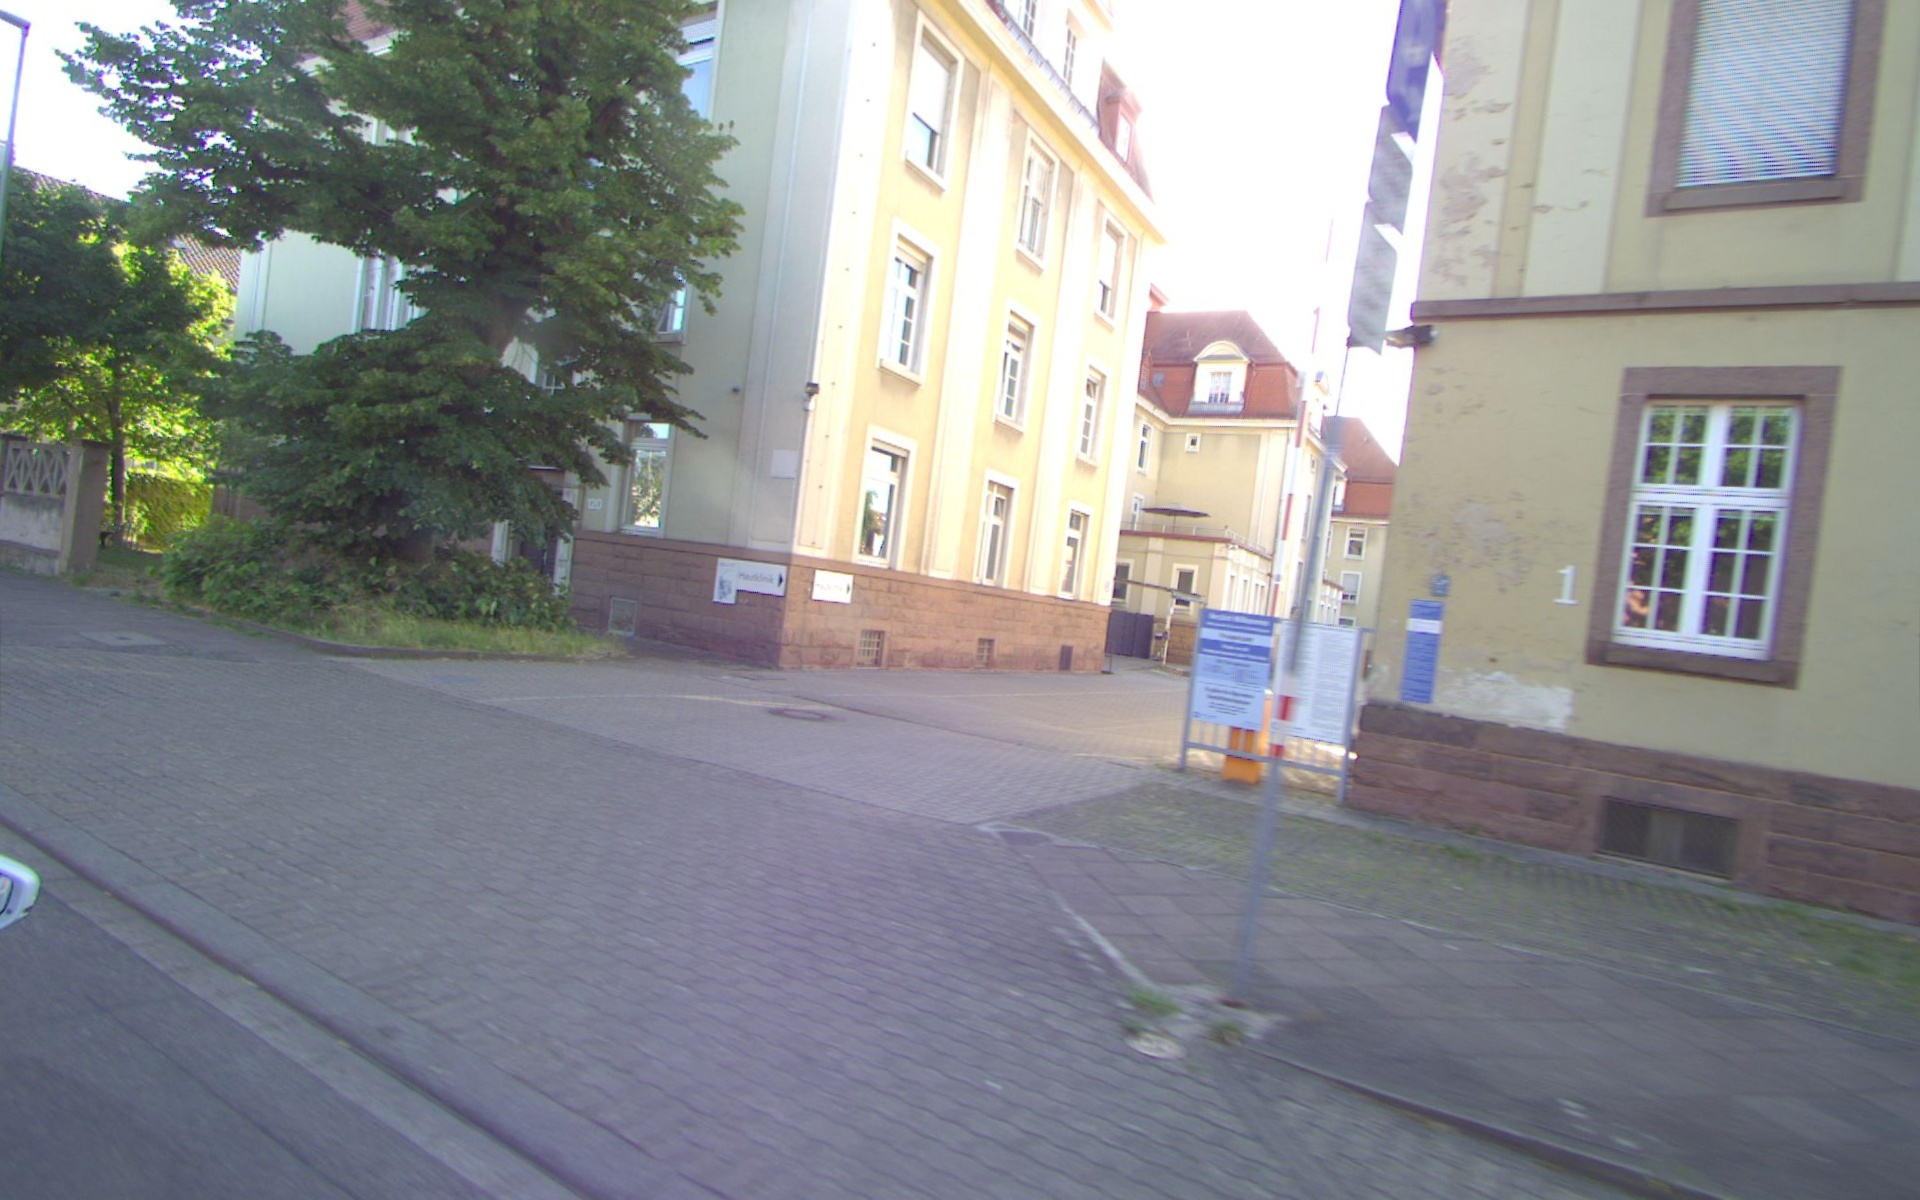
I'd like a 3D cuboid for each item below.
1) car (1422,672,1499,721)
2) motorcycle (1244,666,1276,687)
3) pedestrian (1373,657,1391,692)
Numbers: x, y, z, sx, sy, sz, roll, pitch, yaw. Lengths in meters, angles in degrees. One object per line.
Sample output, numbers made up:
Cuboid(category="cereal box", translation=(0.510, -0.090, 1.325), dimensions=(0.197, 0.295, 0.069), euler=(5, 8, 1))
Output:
Cuboid(category="car", translation=(19.604, 3.804, 39.383), dimensions=(1.763, 1.575, 3.432), euler=(7, -1, 41))
Cuboid(category="motorcycle", translation=(14.618, 3.735, 49.092), dimensions=(1.372, 0.795, 0.322), euler=(7, -1, 29))
Cuboid(category="pedestrian", translation=(22.052, 3.878, 52.588), dimensions=(0.631, 1.739, 0.491), euler=(8, 1, 29))
